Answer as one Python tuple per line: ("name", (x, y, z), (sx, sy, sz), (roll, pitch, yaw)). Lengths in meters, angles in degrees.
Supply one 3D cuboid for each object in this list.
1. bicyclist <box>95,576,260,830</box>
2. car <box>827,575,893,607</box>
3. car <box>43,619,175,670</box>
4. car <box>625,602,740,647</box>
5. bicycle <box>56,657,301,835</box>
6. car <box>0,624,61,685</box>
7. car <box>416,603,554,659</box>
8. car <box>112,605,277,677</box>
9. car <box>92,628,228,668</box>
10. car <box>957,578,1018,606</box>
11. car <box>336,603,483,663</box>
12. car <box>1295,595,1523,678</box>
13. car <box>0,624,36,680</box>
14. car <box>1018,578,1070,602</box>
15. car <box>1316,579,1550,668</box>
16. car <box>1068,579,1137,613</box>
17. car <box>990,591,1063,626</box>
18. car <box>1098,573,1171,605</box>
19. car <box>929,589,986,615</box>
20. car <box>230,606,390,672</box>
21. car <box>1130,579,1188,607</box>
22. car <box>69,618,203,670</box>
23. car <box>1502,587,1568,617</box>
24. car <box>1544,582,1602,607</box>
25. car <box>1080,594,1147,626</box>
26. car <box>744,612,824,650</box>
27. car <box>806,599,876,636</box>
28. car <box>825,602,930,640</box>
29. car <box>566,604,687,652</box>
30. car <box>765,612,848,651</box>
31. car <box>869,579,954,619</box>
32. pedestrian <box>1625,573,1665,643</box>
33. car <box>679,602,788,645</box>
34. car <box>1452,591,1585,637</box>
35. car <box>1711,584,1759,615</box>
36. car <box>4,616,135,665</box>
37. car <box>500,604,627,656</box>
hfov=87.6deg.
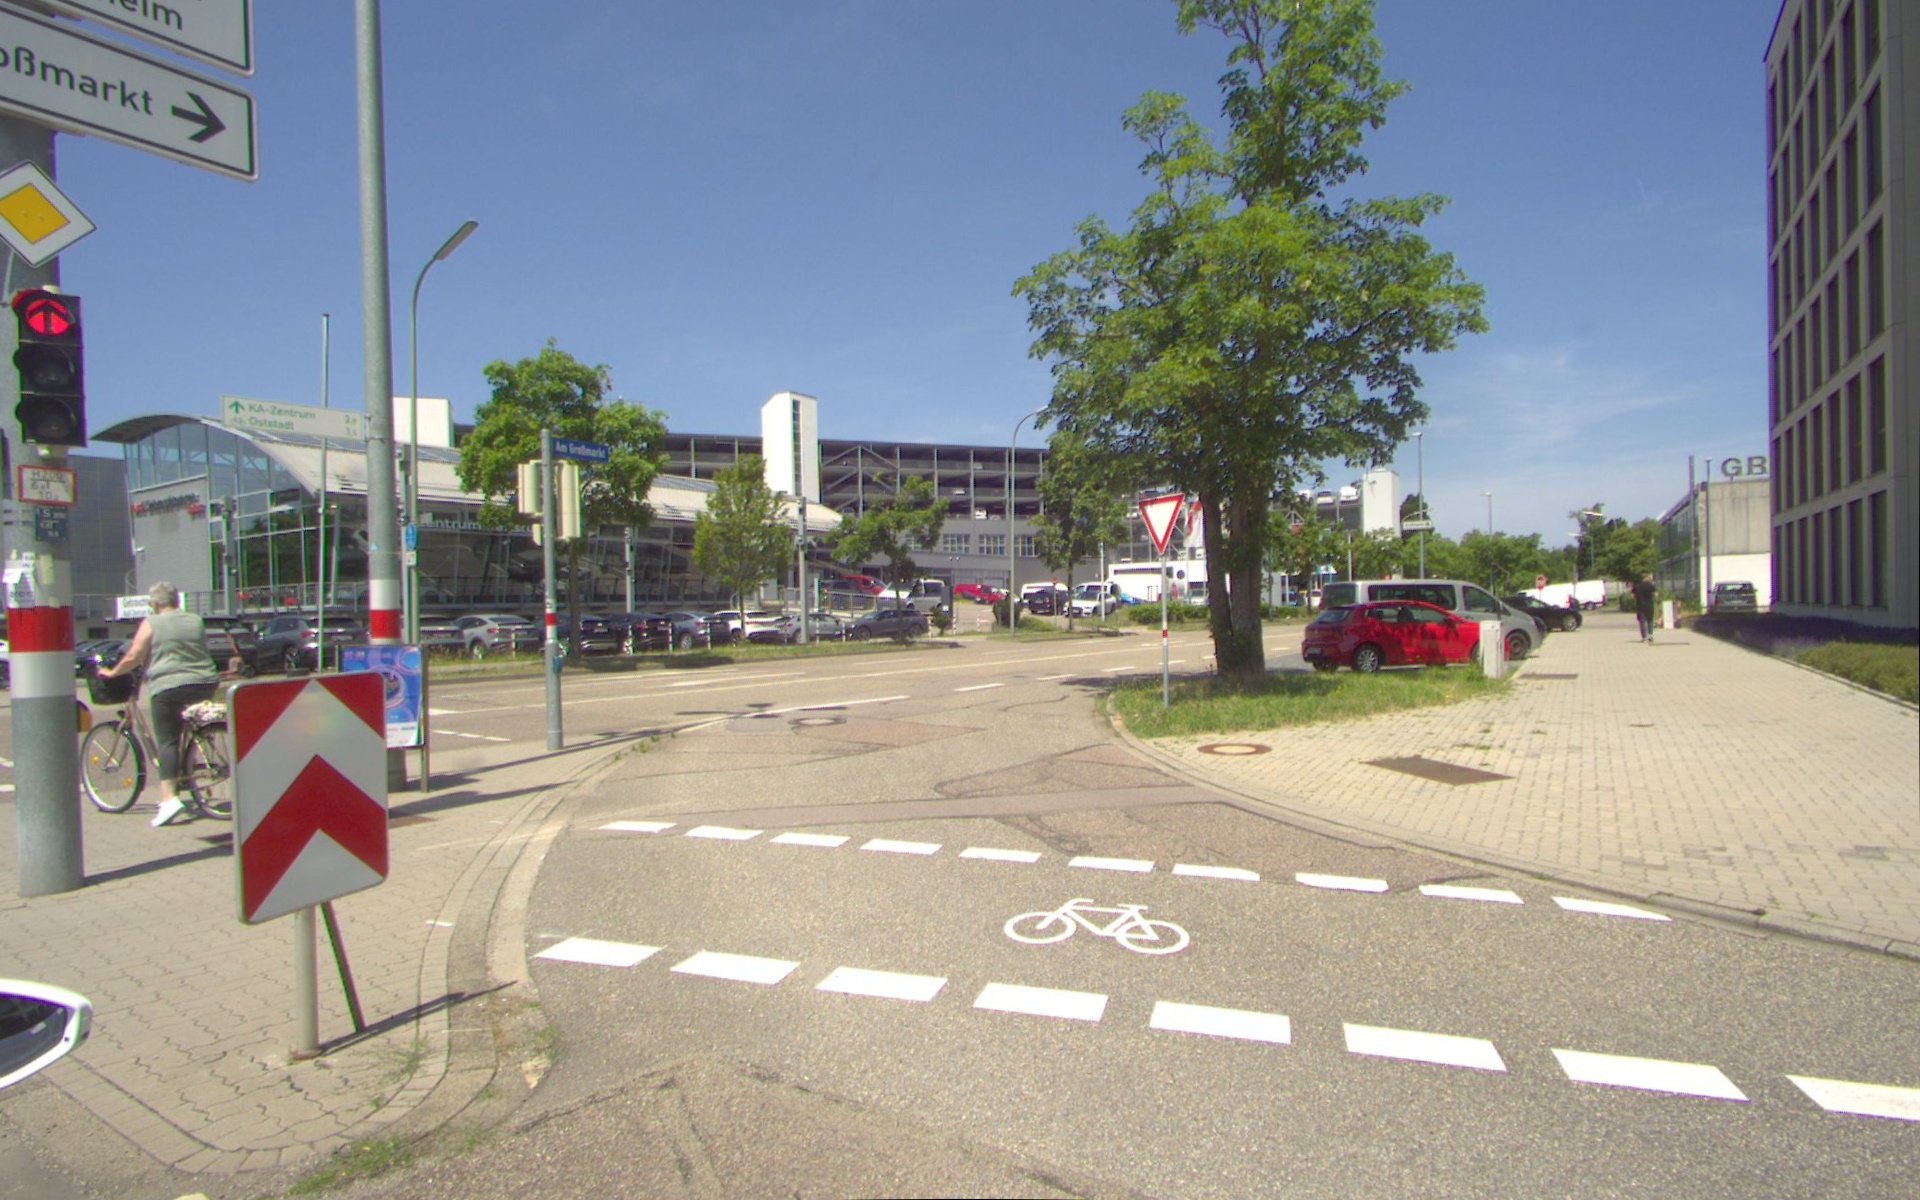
("bicyclist", (-5.847, 0.728, 7.498), (0.742, 1.772, 0.733), (0, 0, 28))
("car", (-6.739, -0.567, 67.333), (3.937, 2.040, 1.992), (-1, 0, 27))
("car", (-37.283, 1.907, 43.961), (1.972, 2.040, 3.977), (-1, 0, 33))
("car", (-10.845, 0.944, 39.060), (4.410, 1.662, 1.823), (-1, 1, 32))
("bicycle", (-5.920, 1.032, 7.569), (1.891, 1.142, 0.786), (0, 0, 29))
("car", (-25.120, 1.370, 24.191), (1.973, 1.476, 4.729), (0, 0, 34))
("car", (-15.247, 0.960, 32.081), (4.460, 1.661, 1.881), (-1, 1, 32))
("car", (-19.418, 0.988, 25.369), (4.207, 1.661, 1.989), (-1, 0, 32))
("car", (-32.932, 1.928, 41.329), (1.694, 1.480, 4.083), (0, 0, 33))
("car", (2.097, -0.586, 77.704), (4.286, 2.040, 1.990), (-1, 0, 30))
("car", (-16.542, 0.960, 30.050), (4.377, 1.661, 1.989), (-1, 1, 32))
("car", (8.965, 0.702, 20.120), (3.924, 1.454, 1.609), (-2, 0, -8))
("car", (-27.080, 1.426, 25.630), (1.973, 1.476, 4.729), (-2, -1, 34))
("car", (7.707, -0.892, 92.035), (4.257, 2.040, 1.989), (-1, 0, 32))
("car", (10.945, 0.486, 23.256), (4.814, 1.840, 1.703), (-2, 2, -10))
("car", (9.104, -0.233, 64.028), (3.943, 2.040, 1.840), (-1, 0, 32))
("car", (4.042, 0.507, 60.998), (3.943, 2.040, 1.989), (-1, 0, 32))
("car", (11.999, -0.749, 68.896), (4.578, 2.040, 1.989), (-1, 0, 32))
("car", (-0.188, 0.138, 74.273), (3.943, 1.810, 1.730), (-1, 0, 32))
("car", (-17.906, 1.020, 27.540), (4.492, 1.661, 1.989), (-1, 0, 32))
("car", (15.541, -0.521, 78.254), (3.945, 2.040, 1.988), (-1, 0, 34))
("car", (-34.906, 1.817, 42.527), (1.972, 2.040, 3.977), (-1, 0, 33))
("car", (41.664, 0.138, 72.535), (3.949, 2.040, 1.986), (-1, 0, 37))
("car", (55.210, -0.505, 90.179), (4.304, 2.149, 2.080), (-1, 0, 36))
("car", (10.247, 0.675, 66.939), (3.943, 2.040, 1.989), (-1, 0, 32))
("car", (-9.071, 1.565, 51.665), (3.712, 1.795, 1.761), (-1, 0, -28))
("car", (-6.917, 0.987, 58.440), (1.839, 2.040, 3.732), (-1, 0, 41))
("car", (-3.905, 0.942, 47.636), (4.702, 1.662, 1.821), (-1, 1, -35))
("car", (-12.284, 0.997, 36.786), (4.410, 1.662, 1.823), (-1, 1, 32))
("car", (-7.557, 1.522, 49.304), (3.659, 1.801, 1.739), (-1, 0, -31))
("car", (-2.566, -0.034, 53.955), (1.972, 2.040, 5.117), (-1, 0, 32))
("pedestrian", (18.784, 0.227, 27.451), (0.764, 1.869, 0.861), (-2, 0, 40))
("car", (-9.367, 0.942, 41.309), (4.410, 1.662, 1.823), (-1, 1, 32))
("car", (21.591, 0.558, 38.829), (4.075, 1.558, 1.815), (-3, -1, 2))
("car", (42.095, -0.038, 54.470), (1.765, 1.542, 3.556), (-2, 0, 33))
("car", (-39.694, 1.763, 44.702), (1.972, 2.040, 3.977), (-1, 0, 33))
("car", (-13.698, 1.004, 34.498), (4.410, 1.662, 1.823), (-1, 1, 32))
